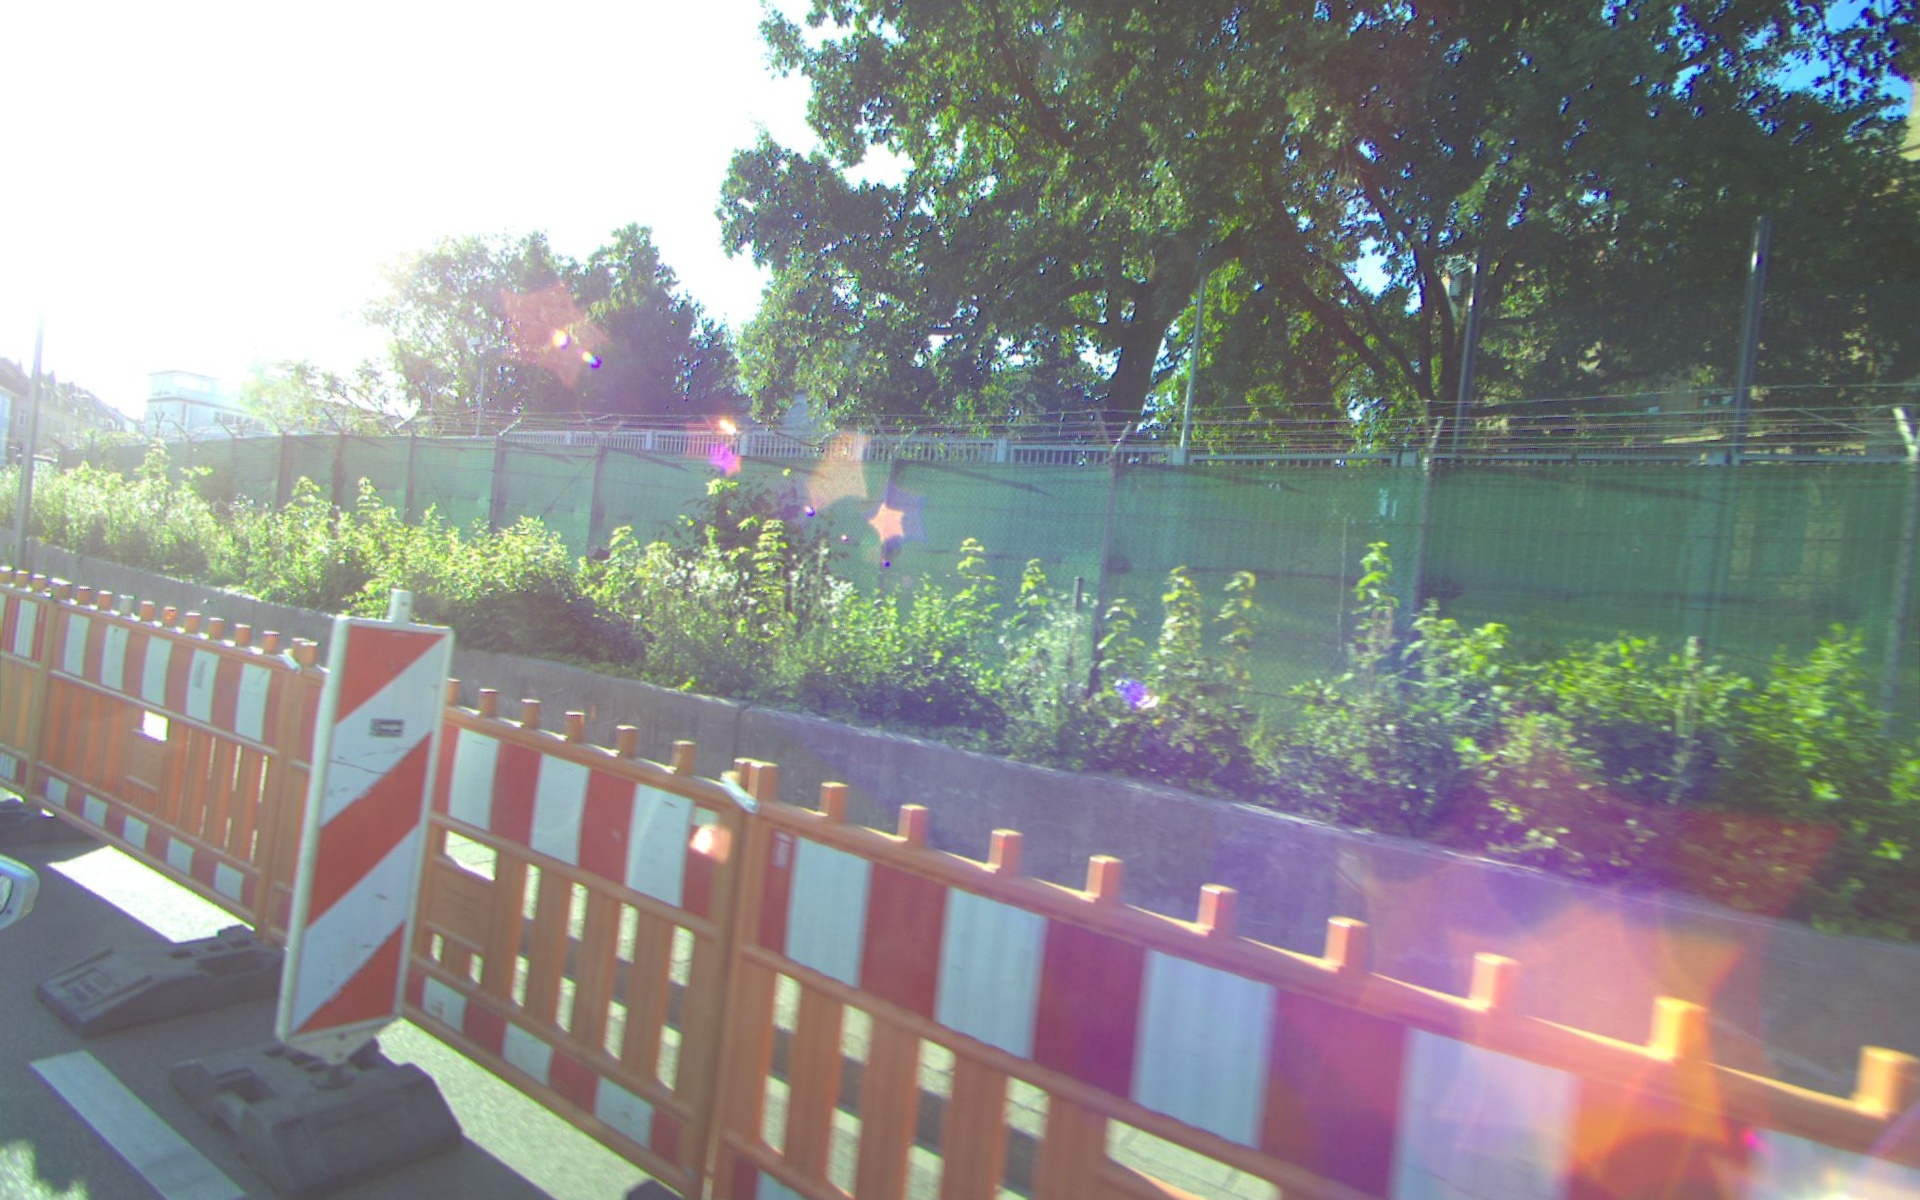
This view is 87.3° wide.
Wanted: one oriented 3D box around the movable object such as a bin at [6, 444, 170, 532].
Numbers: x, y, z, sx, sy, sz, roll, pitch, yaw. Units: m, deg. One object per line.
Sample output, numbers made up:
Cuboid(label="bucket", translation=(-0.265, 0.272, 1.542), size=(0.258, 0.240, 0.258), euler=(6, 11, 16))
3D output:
Cuboid(label="movable object such as a bin", translation=(-46.272, -5.838, 53.644), size=(6.021, 3.602, 2.836), euler=(7, 0, -34))

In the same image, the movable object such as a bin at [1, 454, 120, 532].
Cuboid(label="movable object such as a bin", translation=(-37.980, -4.510, 42.470), size=(4.860, 2.737, 2.278), euler=(7, 0, 31))
